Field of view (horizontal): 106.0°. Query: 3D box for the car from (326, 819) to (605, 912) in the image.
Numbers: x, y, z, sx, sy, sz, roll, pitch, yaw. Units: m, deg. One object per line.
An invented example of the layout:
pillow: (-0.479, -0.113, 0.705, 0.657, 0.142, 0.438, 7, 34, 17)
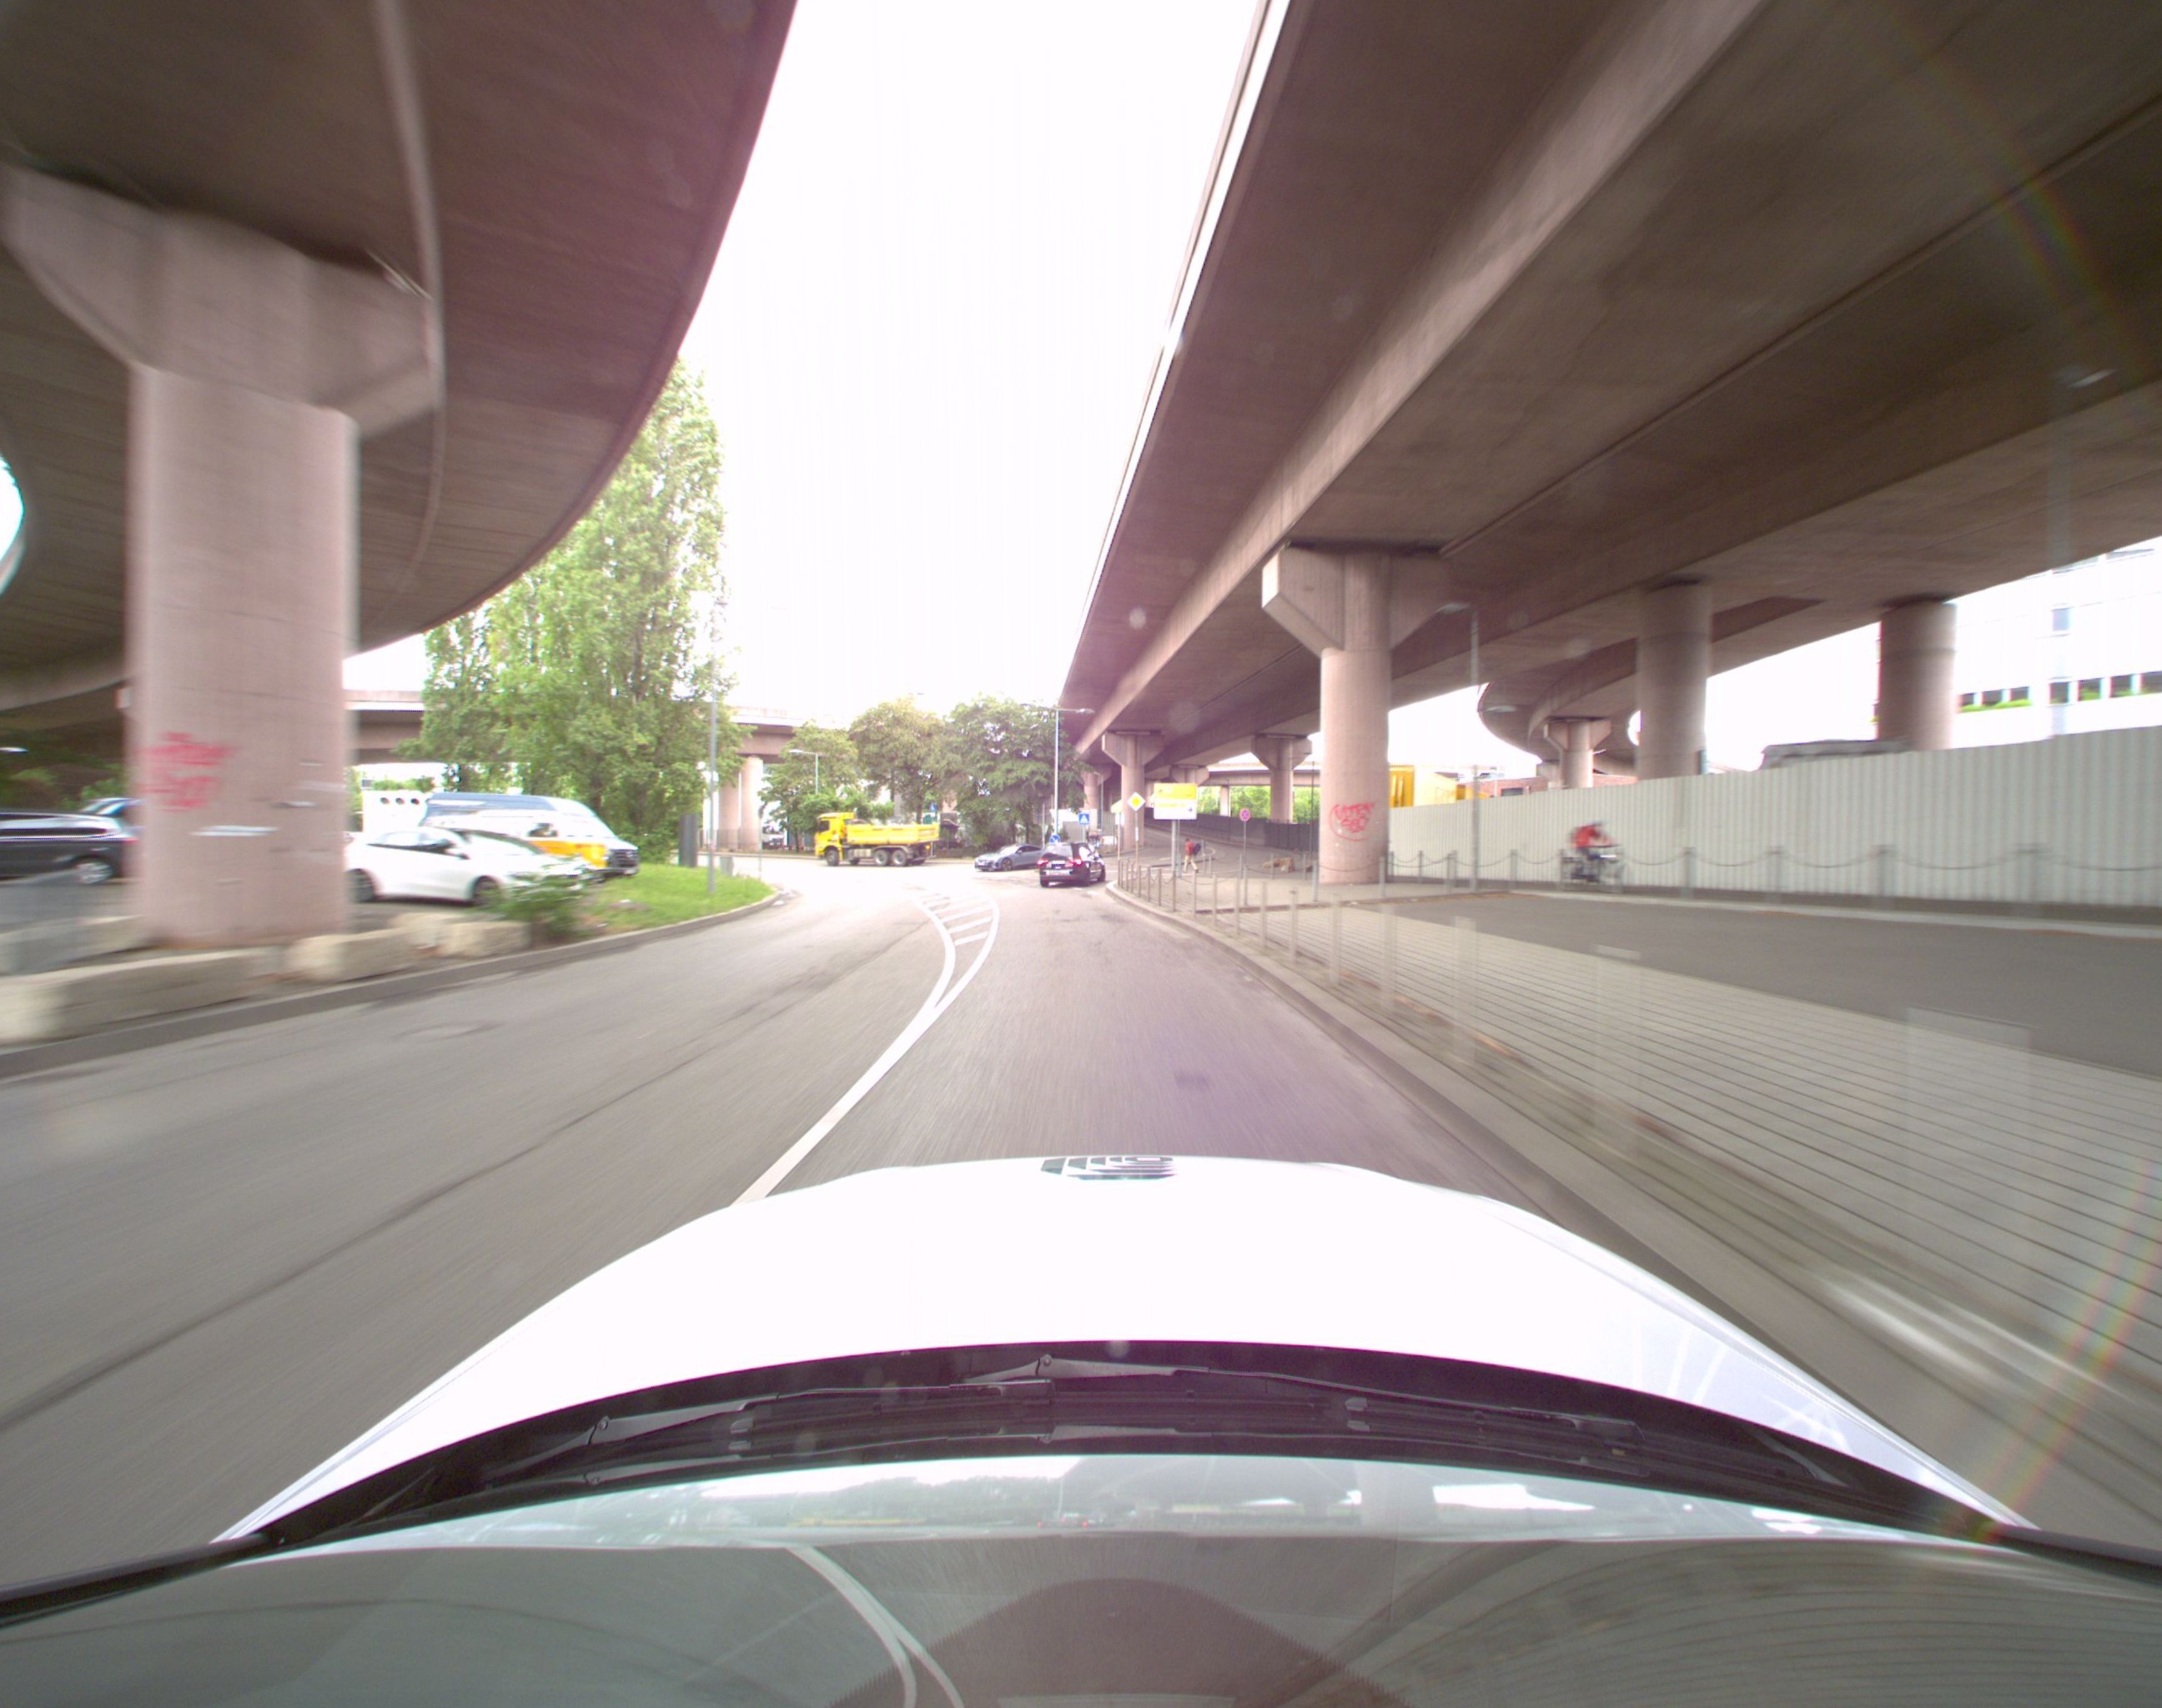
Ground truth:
car: (-12.460, 0.197, 16.639, 4.357, 1.605, 1.959, 2, 1, 7)

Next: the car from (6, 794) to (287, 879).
car: (-27.553, -0.510, 24.342, 2.101, 2.254, 5.039, -1, 1, 16)

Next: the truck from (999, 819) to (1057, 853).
truck: (-4.880, -1.694, 73.356, 2.931, 2.898, 6.503, -2, 3, -26)

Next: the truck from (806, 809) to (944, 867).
truck: (-13.210, -1.033, 52.235, 8.150, 3.480, 2.952, 0, 4, 19)

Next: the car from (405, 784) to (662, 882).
car: (-16.487, -0.640, 24.810, 6.156, 2.724, 2.368, 1, 1, -1)

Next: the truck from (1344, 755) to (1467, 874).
truck: (15.317, -1.678, 37.932, 3.107, 4.917, 8.773, 0, 1, 37)

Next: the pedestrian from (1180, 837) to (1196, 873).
pedestrian: (5.085, 0.032, 38.822, 0.537, 1.675, 0.555, -2, 2, -17)

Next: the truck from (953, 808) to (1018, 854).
truck: (-8.487, -2.095, 71.493, 3.082, 3.867, 7.980, -2, 3, -26)

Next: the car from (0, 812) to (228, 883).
car: (-25.779, -0.191, 21.412, 1.880, 1.675, 4.175, -1, 1, 19)

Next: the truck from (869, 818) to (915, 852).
truck: (-21.129, -2.226, 90.758, 3.073, 3.618, 7.845, -1, 3, -28)

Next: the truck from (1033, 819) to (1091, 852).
truck: (-1.818, -1.788, 74.931, 2.931, 2.898, 6.503, -2, 3, -26)

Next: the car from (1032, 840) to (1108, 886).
car: (-0.338, 0.298, 32.323, 1.980, 1.679, 4.577, -1, 1, 13)

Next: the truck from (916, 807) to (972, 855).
truck: (-12.075, -2.008, 71.184, 3.080, 3.962, 6.868, -3, 2, -24)

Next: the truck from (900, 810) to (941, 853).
truck: (-18.739, -2.653, 94.755, 3.215, 4.779, 7.992, -1, 3, -21)

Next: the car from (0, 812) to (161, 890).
car: (-23.836, -0.059, 18.017, 1.879, 1.675, 4.176, -1, 1, 20)

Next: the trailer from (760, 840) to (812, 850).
trailer: (-28.230, -0.909, 77.831, 6.216, 0.743, 2.169, 2, 5, 45)

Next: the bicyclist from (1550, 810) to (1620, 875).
bicyclist: (11.264, -0.263, 18.227, 0.796, 1.405, 1.062, -2, 1, -11)

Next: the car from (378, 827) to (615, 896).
car: (-13.740, 0.148, 19.303, 4.224, 1.371, 2.003, 2, 1, 5)

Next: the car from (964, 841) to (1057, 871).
car: (-3.818, 0.089, 44.818, 2.146, 1.501, 4.962, 0, 1, 43)

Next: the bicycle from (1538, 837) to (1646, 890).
bicycle: (11.297, 0.184, 18.092, 0.802, 1.097, 2.123, -2, 1, -11)

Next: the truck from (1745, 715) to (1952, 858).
truck: (20.100, -1.646, 21.922, 3.107, 2.943, 8.775, -3, 1, 38)

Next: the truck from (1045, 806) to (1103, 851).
truck: (-0.815, -2.644, 82.167, 3.078, 4.298, 7.991, -1, 3, -22)

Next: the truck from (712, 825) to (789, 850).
truck: (-33.890, -1.683, 83.496, 7.150, 2.551, 2.738, 0, 1, 17)

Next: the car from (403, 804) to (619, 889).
car: (-15.315, -0.217, 22.039, 4.537, 2.111, 1.852, 1, 1, 2)

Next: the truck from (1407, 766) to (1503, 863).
truck: (21.191, -2.075, 45.768, 3.107, 4.903, 8.773, 0, 1, 37)
